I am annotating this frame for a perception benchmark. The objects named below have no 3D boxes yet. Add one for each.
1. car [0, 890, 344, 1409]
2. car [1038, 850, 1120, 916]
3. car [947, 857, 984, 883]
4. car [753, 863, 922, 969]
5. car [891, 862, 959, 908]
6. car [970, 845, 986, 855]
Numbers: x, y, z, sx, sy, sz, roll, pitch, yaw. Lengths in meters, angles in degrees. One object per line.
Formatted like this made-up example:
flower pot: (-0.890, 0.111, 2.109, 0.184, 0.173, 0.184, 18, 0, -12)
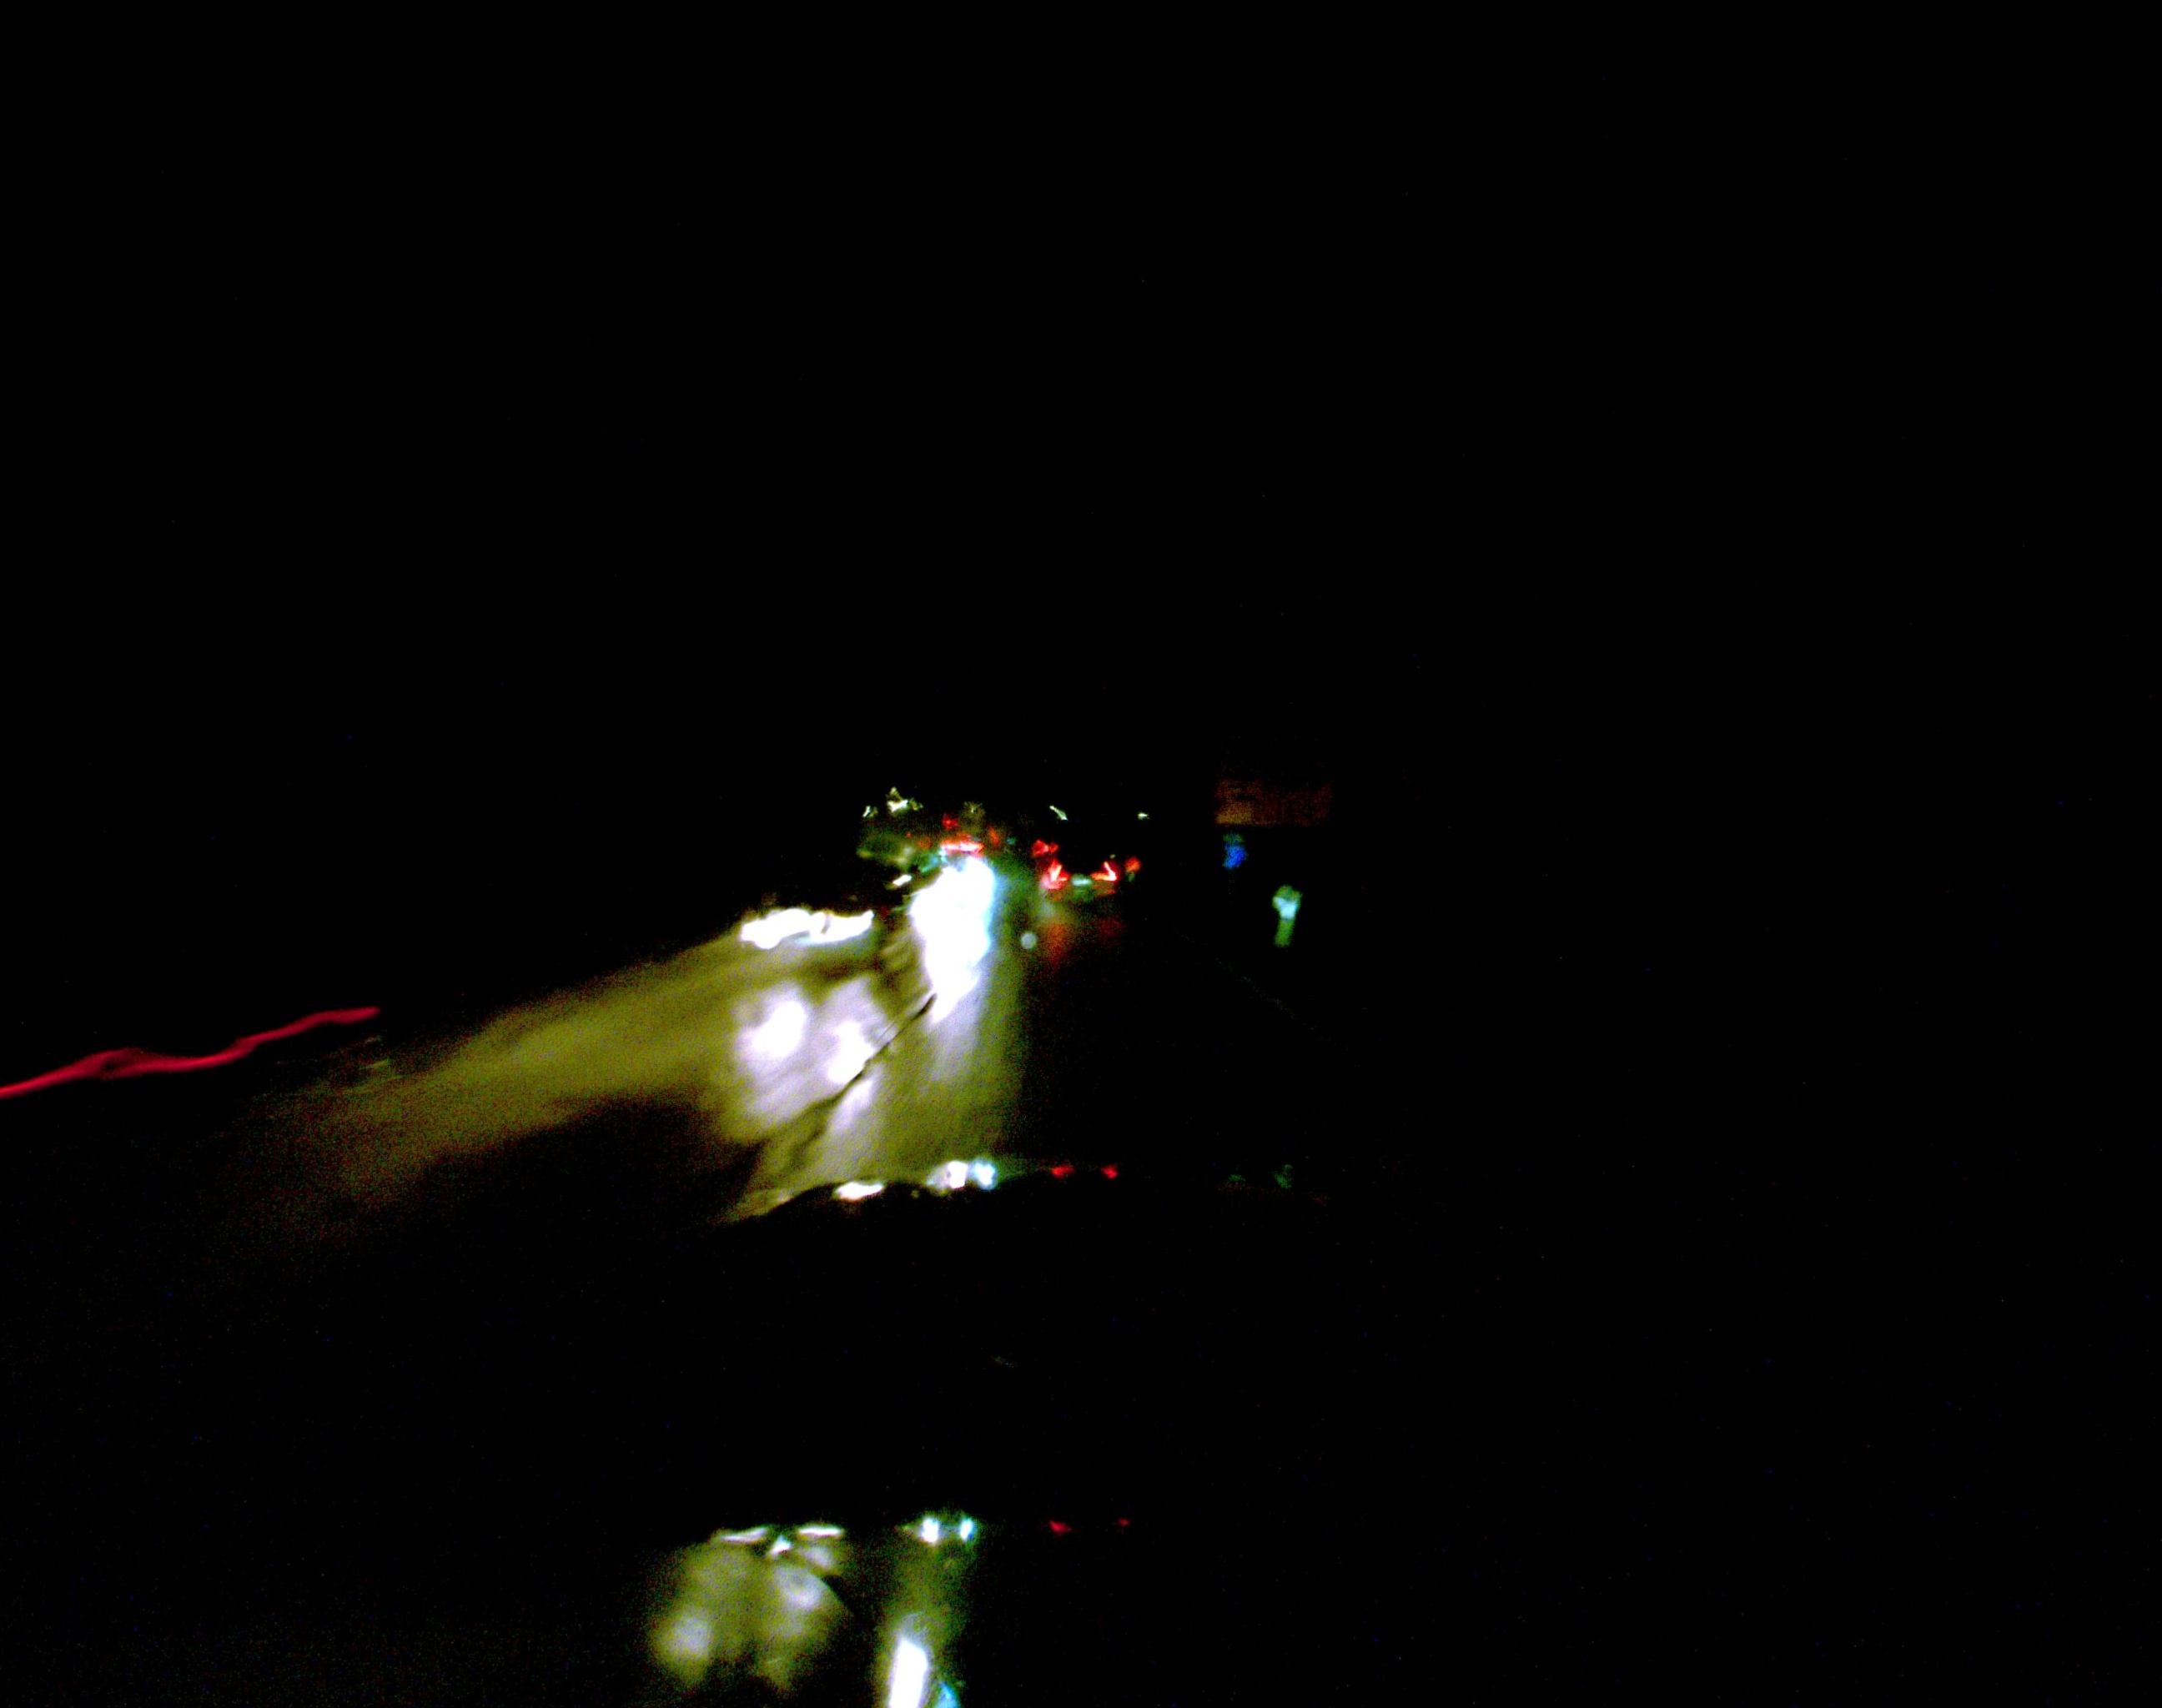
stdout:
car: (-3.870, 0.831, 1.215, 1.765, 1.389, 4.112, -1, -1, 0)
car: (0.069, 0.740, 22.695, 1.985, 1.628, 4.988, 0, 0, 3)
car: (-6.490, 0.868, 45.522, 1.772, 1.389, 4.019, 0, -1, -12)
car: (-3.674, 0.843, 13.037, 1.768, 1.389, 4.225, 0, -1, -5)
car: (-5.078, 0.956, 26.942, 1.768, 1.389, 4.225, 0, -1, -5)
car: (-18.420, -0.710, 145.240, 1.999, 1.627, 4.955, -3, 2, -17)
